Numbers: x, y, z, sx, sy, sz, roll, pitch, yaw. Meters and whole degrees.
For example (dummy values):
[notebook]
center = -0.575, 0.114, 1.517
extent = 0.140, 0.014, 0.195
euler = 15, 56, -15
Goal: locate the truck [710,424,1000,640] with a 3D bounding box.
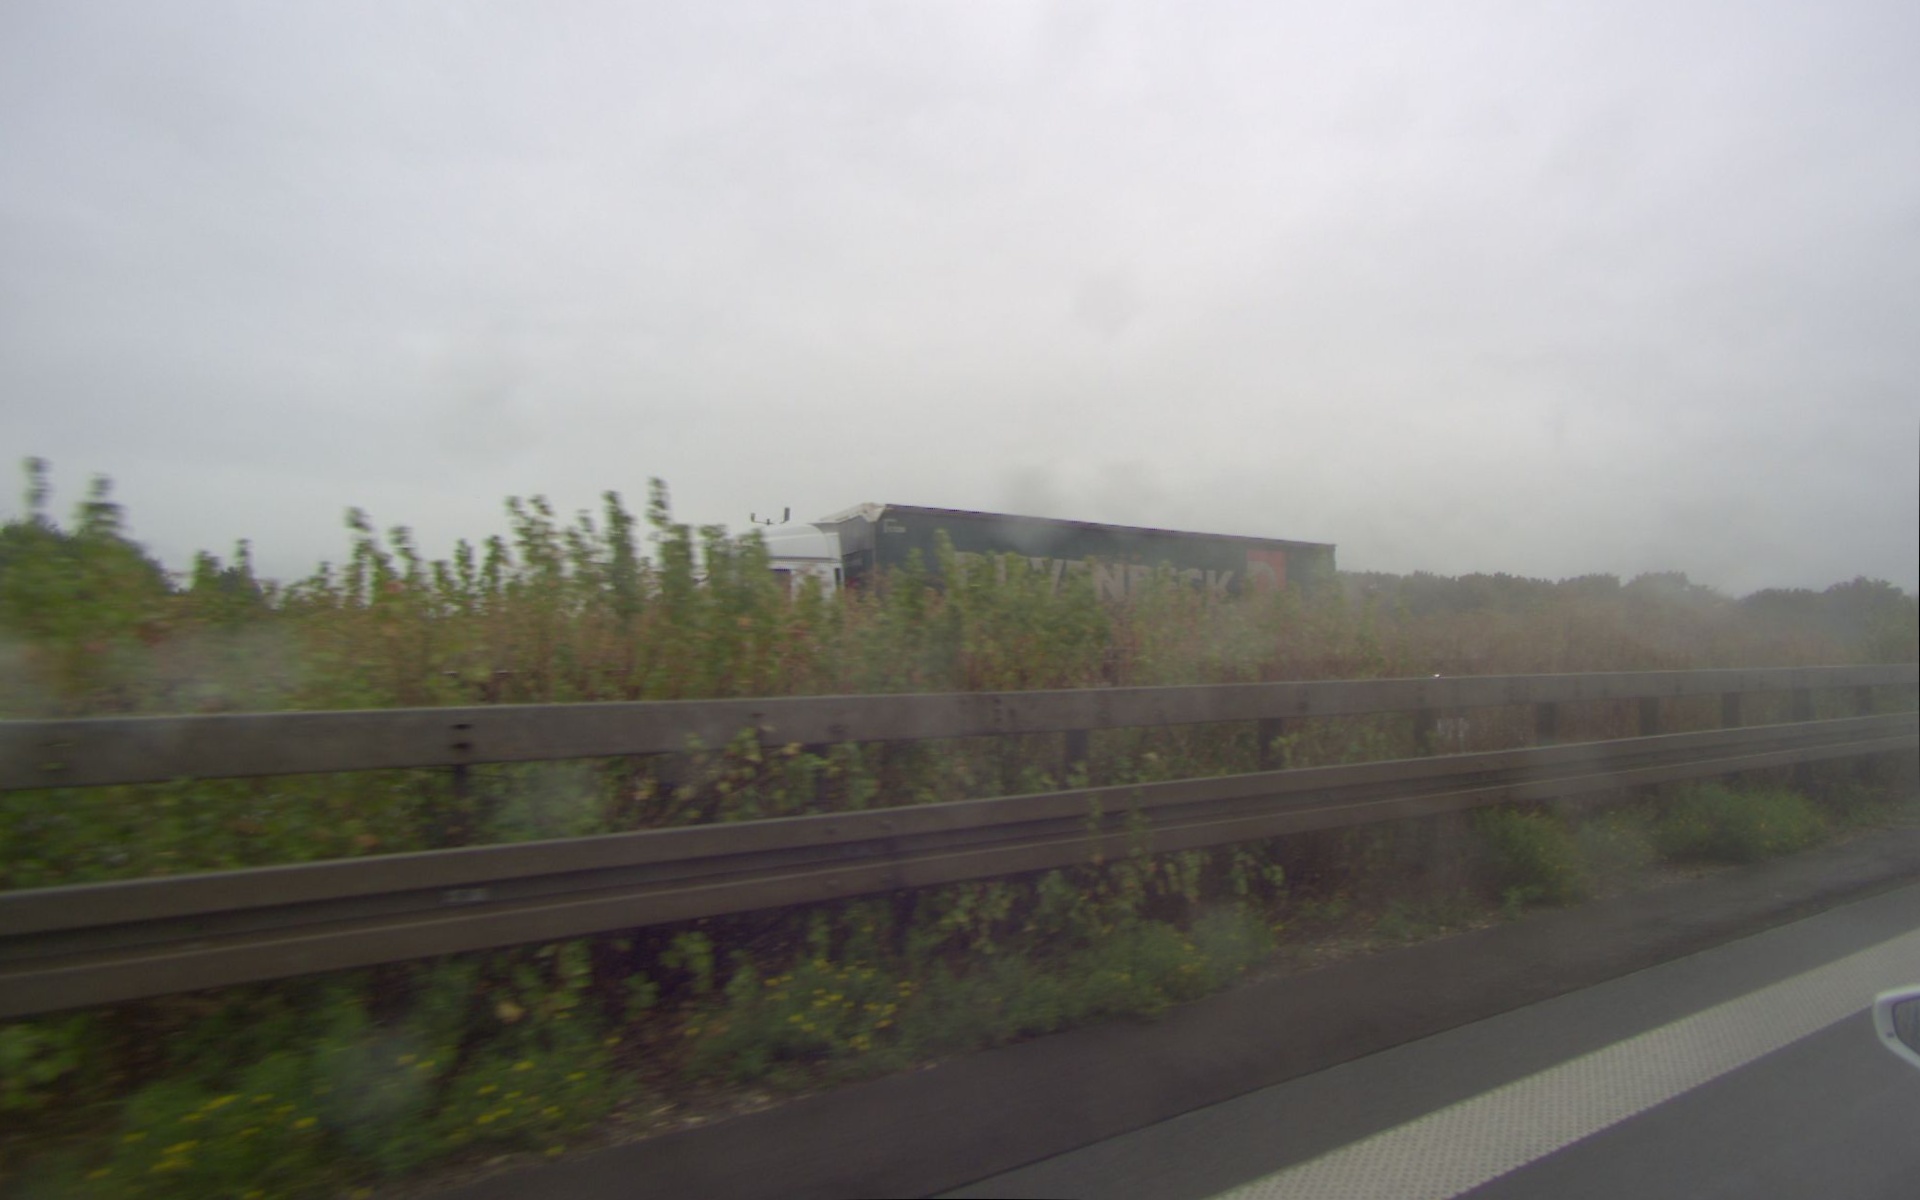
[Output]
[truck]
center = -2.090, -1.178, 20.396
extent = 5.337, 3.856, 2.306
euler = 2, 0, -30

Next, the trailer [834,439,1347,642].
[trailer]
center = 3.712, -1.019, 23.824
extent = 13.452, 3.855, 2.284
euler = 2, 0, -30
